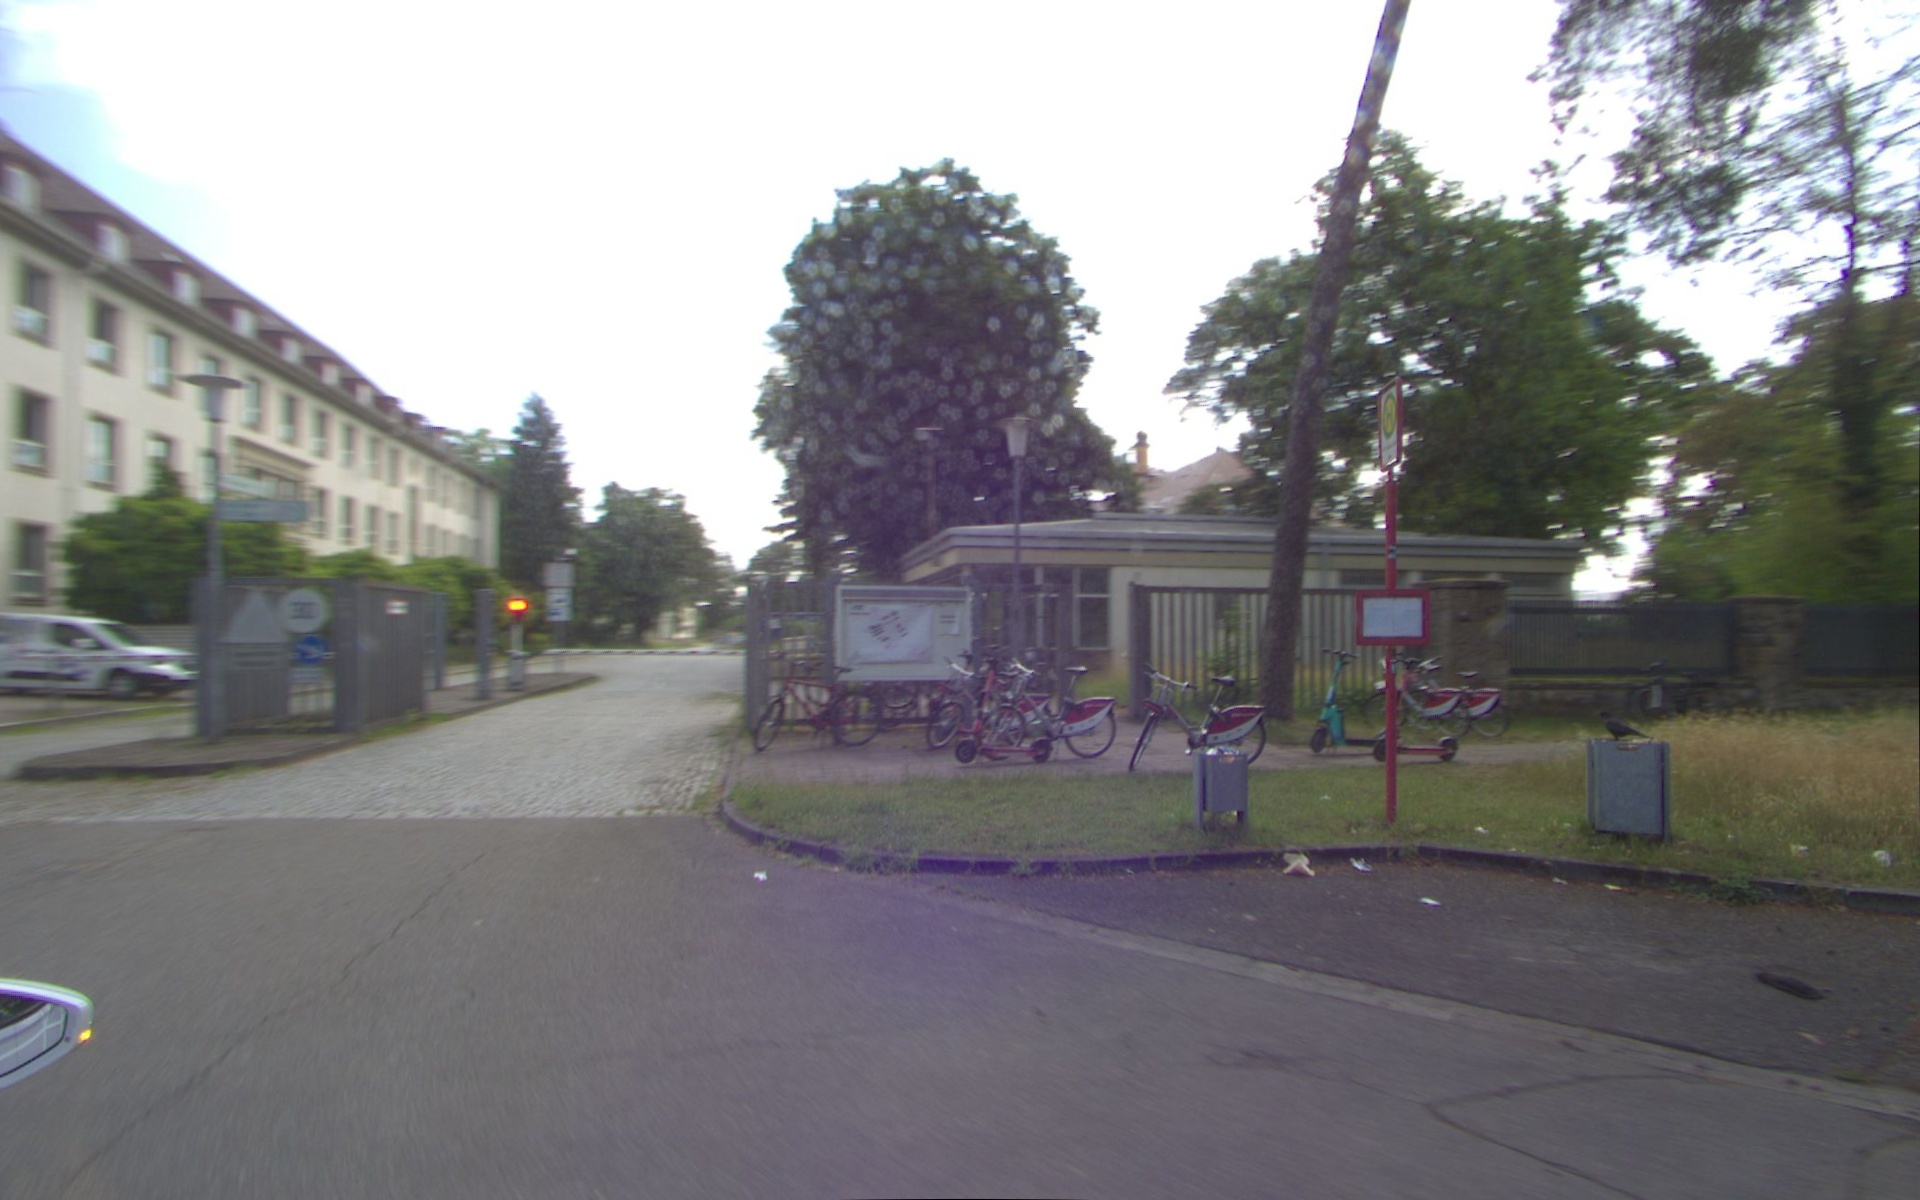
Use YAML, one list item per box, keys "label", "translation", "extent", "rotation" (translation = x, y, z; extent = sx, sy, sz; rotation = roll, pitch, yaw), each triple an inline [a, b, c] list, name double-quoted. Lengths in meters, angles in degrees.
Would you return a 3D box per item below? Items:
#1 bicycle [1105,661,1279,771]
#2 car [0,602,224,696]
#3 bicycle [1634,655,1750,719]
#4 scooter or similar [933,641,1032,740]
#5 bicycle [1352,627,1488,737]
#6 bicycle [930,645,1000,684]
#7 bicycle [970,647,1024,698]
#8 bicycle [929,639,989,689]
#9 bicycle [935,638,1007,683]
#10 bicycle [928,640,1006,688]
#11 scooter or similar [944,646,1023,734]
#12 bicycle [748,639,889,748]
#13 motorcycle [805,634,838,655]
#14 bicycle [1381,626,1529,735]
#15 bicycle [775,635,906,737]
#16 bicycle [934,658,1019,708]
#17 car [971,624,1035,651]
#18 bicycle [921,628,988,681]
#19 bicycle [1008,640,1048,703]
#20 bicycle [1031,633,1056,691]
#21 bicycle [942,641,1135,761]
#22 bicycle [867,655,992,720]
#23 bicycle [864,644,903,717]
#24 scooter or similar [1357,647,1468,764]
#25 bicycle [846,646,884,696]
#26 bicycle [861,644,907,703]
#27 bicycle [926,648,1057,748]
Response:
- label: "bicycle"
  translation: [2.475, 1.217, 10.773]
  extent: [1.652, 1.098, 0.740]
  rotation: [0, -3, -13]
- label: "car"
  translation: [-19.598, 1.095, 22.540]
  extent: [4.372, 1.773, 1.857]
  rotation: [5, -2, -15]
- label: "bicycle"
  translation: [12.289, 1.449, 16.810]
  extent: [1.917, 1.029, 0.373]
  rotation: [0, -1, -12]
- label: "scooter or similar"
  translation: [0.289, 1.171, 13.086]
  extent: [1.259, 1.262, 0.386]
  rotation: [0, -1, -4]
- label: "bicycle"
  translation: [6.477, 1.110, 14.207]
  extent: [0.580, 1.436, 1.791]
  rotation: [1, 0, -26]
- label: "bicycle"
  translation: [0.150, 1.786, 27.877]
  extent: [1.952, 1.041, 0.400]
  rotation: [1, -3, -22]
- label: "bicycle"
  translation: [0.862, 1.659, 22.947]
  extent: [0.430, 1.133, 1.644]
  rotation: [-3, -4, 34]
- label: "bicycle"
  translation: [-0.038, 1.536, 24.023]
  extent: [1.369, 1.185, 0.436]
  rotation: [0, -3, -11]
- label: "bicycle"
  translation: [0.307, 1.655, 27.482]
  extent: [1.952, 1.185, 0.400]
  rotation: [1, -3, -22]
- label: "bicycle"
  translation: [0.177, 1.621, 25.416]
  extent: [1.920, 1.185, 0.485]
  rotation: [0, -3, -17]
- label: "scooter or similar"
  translation: [0.319, 1.251, 14.203]
  extent: [0.433, 1.165, 1.242]
  rotation: [1, -1, -38]
- label: "bicycle"
  translation: [-1.814, 1.166, 12.810]
  extent: [1.708, 1.294, 0.672]
  rotation: [-1, -1, -15]
- label: "motorcycle"
  translation: [-8.575, 2.773, 61.954]
  extent: [1.927, 1.212, 0.460]
  rotation: [-1, 4, -13]
- label: "bicycle"
  translation: [7.055, 1.101, 14.391]
  extent: [0.569, 1.435, 1.975]
  rotation: [1, -1, -26]
- label: "bicycle"
  translation: [-1.744, 1.247, 14.692]
  extent: [1.870, 1.435, 0.516]
  rotation: [0, -2, -6]
- label: "bicycle"
  translation: [0.411, 2.049, 24.767]
  extent: [2.039, 1.185, 0.486]
  rotation: [0, -3, -12]
- label: "car"
  translation: [3.013, 2.637, 70.674]
  extent: [4.154, 1.843, 2.000]
  rotation: [1, -2, -9]
- label: "bicycle"
  translation: [-0.120, 1.278, 23.558]
  extent: [1.634, 1.185, 0.433]
  rotation: [0, -3, -39]
- label: "bicycle"
  translation: [1.547, 1.670, 23.029]
  extent: [0.428, 1.091, 1.604]
  rotation: [0, -17, -11]
- label: "bicycle"
  translation: [1.760, 1.320, 21.247]
  extent: [0.428, 1.185, 1.726]
  rotation: [-1, -4, 1]
- label: "bicycle"
  translation: [0.907, 1.132, 11.553]
  extent: [2.135, 1.257, 0.634]
  rotation: [0, 1, -16]
- label: "bicycle"
  translation: [-0.483, 1.363, 15.706]
  extent: [1.915, 0.980, 0.457]
  rotation: [0, -1, -10]
- label: "bicycle"
  translation: [-1.385, 1.413, 17.930]
  extent: [0.493, 1.186, 1.714]
  rotation: [0, 0, -11]
- label: "scooter or similar"
  translation: [5.120, 1.173, 11.335]
  extent: [1.071, 1.243, 0.438]
  rotation: [-1, -2, -16]
- label: "bicycle"
  translation: [-2.201, 1.609, 23.069]
  extent: [0.719, 1.086, 1.713]
  rotation: [0, -1, -11]
- label: "bicycle"
  translation: [-1.497, 1.412, 19.585]
  extent: [0.719, 1.070, 1.593]
  rotation: [0, -1, -11]
- label: "bicycle"
  translation: [0.382, 1.209, 12.511]
  extent: [1.579, 1.178, 0.622]
  rotation: [-1, 0, 0]
